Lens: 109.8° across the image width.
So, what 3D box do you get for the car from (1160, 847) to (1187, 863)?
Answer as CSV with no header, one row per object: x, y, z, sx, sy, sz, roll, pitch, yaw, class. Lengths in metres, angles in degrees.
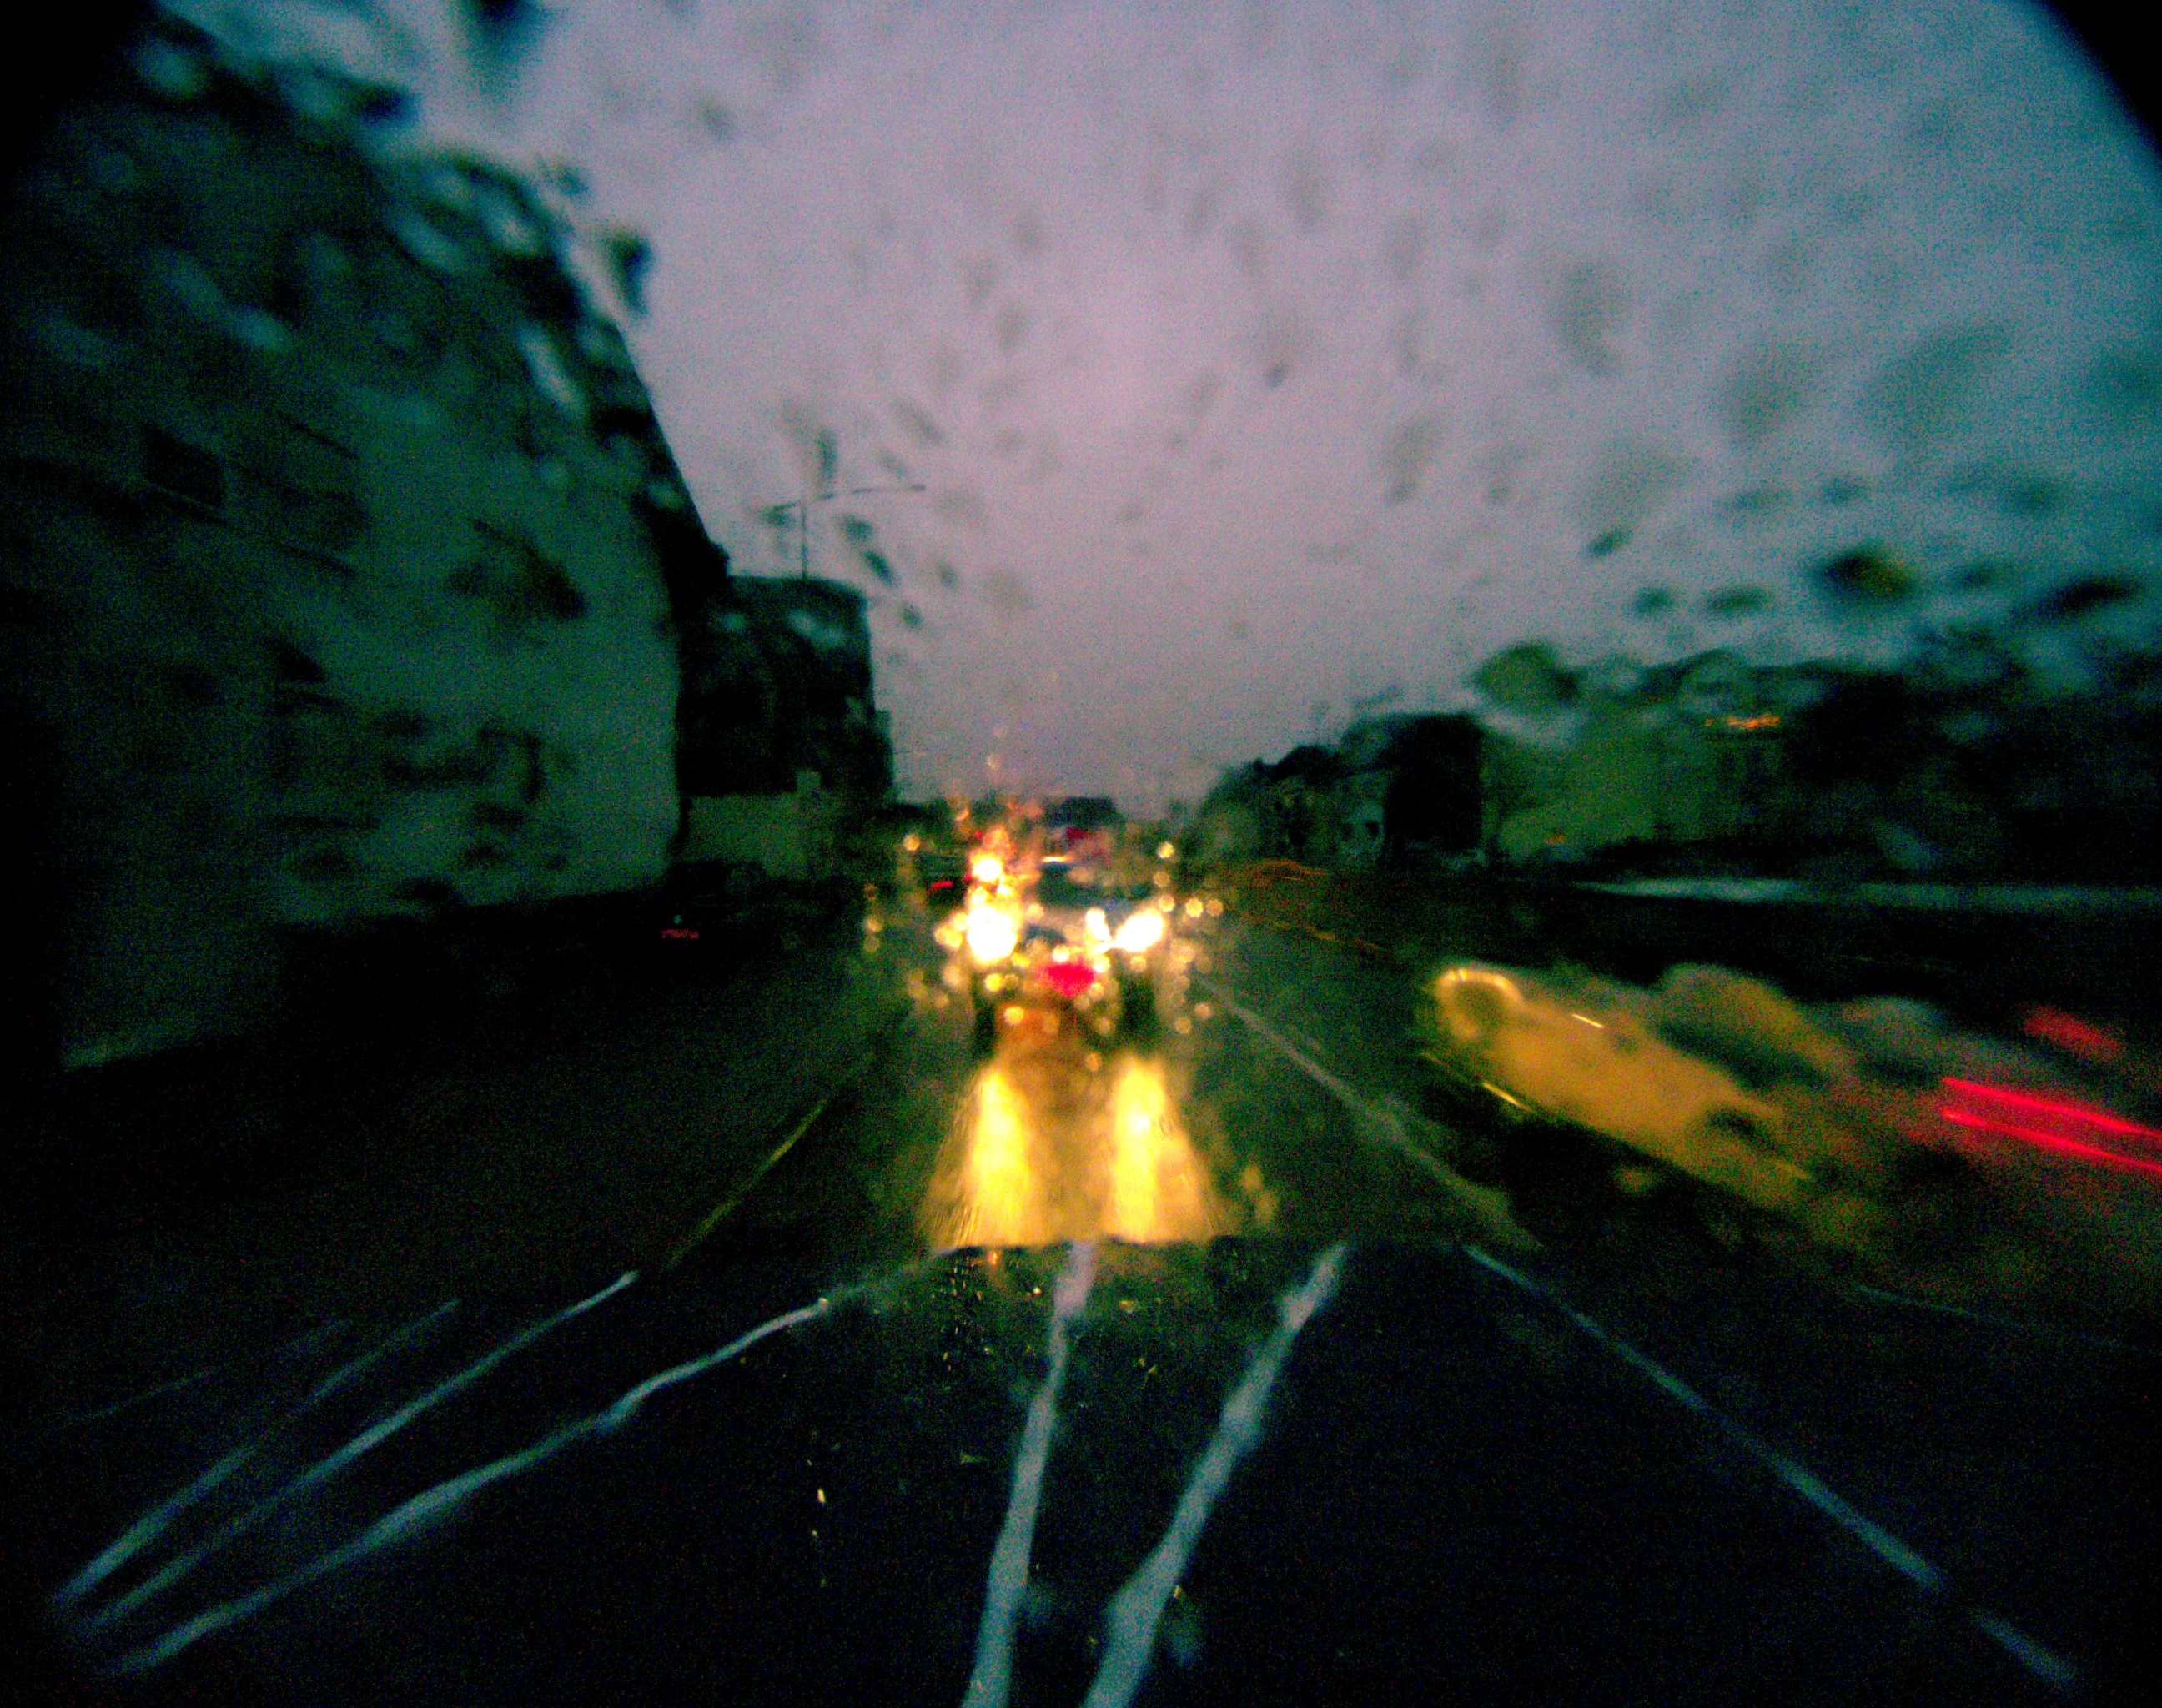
10.173,0.079,83.670,1.823,1.615,3.981,-4,1,-10,car

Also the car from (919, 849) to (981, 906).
-4.478,0.753,26.465,1.775,1.771,3.998,2,0,-5,car

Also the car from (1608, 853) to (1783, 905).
20.191,0.763,25.277,1.880,1.563,4.499,1,0,-6,car

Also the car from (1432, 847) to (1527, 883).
18.817,0.515,36.117,1.880,1.589,4.222,1,0,-8,car

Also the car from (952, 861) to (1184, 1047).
-0.139,0.905,8.766,1.999,1.526,3.999,-3,0,-1,car

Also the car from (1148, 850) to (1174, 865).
9.288,0.397,88.422,1.903,1.509,3.995,-4,2,-10,car

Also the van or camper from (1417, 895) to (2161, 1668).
2.892,0.931,2.991,1.566,1.347,3.421,0,0,-1,van or camper

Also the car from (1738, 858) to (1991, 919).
20.583,0.840,20.307,1.880,1.425,4.499,1,0,-6,car

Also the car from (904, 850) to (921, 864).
-20.419,0.349,91.952,1.814,1.555,4.298,-1,1,-16,car

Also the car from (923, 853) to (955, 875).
-10.963,0.723,58.379,1.964,1.524,5.002,-4,1,-15,car

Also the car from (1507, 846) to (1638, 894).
19.492,0.607,30.410,1.880,1.768,4.498,1,0,-8,car

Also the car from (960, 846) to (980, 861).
-12.782,-0.035,87.220,1.669,1.626,3.545,-2,1,-18,car

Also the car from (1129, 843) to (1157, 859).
7.791,-0.389,95.847,2.001,1.894,4.351,-4,1,-16,car

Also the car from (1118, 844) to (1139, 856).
6.315,-0.547,101.121,1.682,1.406,3.828,-4,2,-15,car

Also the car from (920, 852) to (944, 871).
-12.797,0.594,64.985,1.671,1.567,4.490,-1,1,-15,car

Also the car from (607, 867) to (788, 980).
-5.843,0.955,12.074,1.772,1.385,3.908,1,0,-15,car

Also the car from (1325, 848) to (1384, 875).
17.056,0.442,47.580,1.775,1.515,4.027,-1,1,-9,car

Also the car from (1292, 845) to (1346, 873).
16.105,0.296,51.609,1.864,1.672,3.996,-3,1,-9,car

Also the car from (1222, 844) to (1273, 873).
10.931,0.249,49.995,1.806,1.793,3.855,-1,1,-13,car

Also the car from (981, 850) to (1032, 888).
-3.712,0.773,37.153,1.908,1.629,4.564,-3,-2,-12,car

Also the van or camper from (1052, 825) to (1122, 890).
0.126,0.137,34.721,2.248,2.653,6.550,0,0,-8,van or camper
